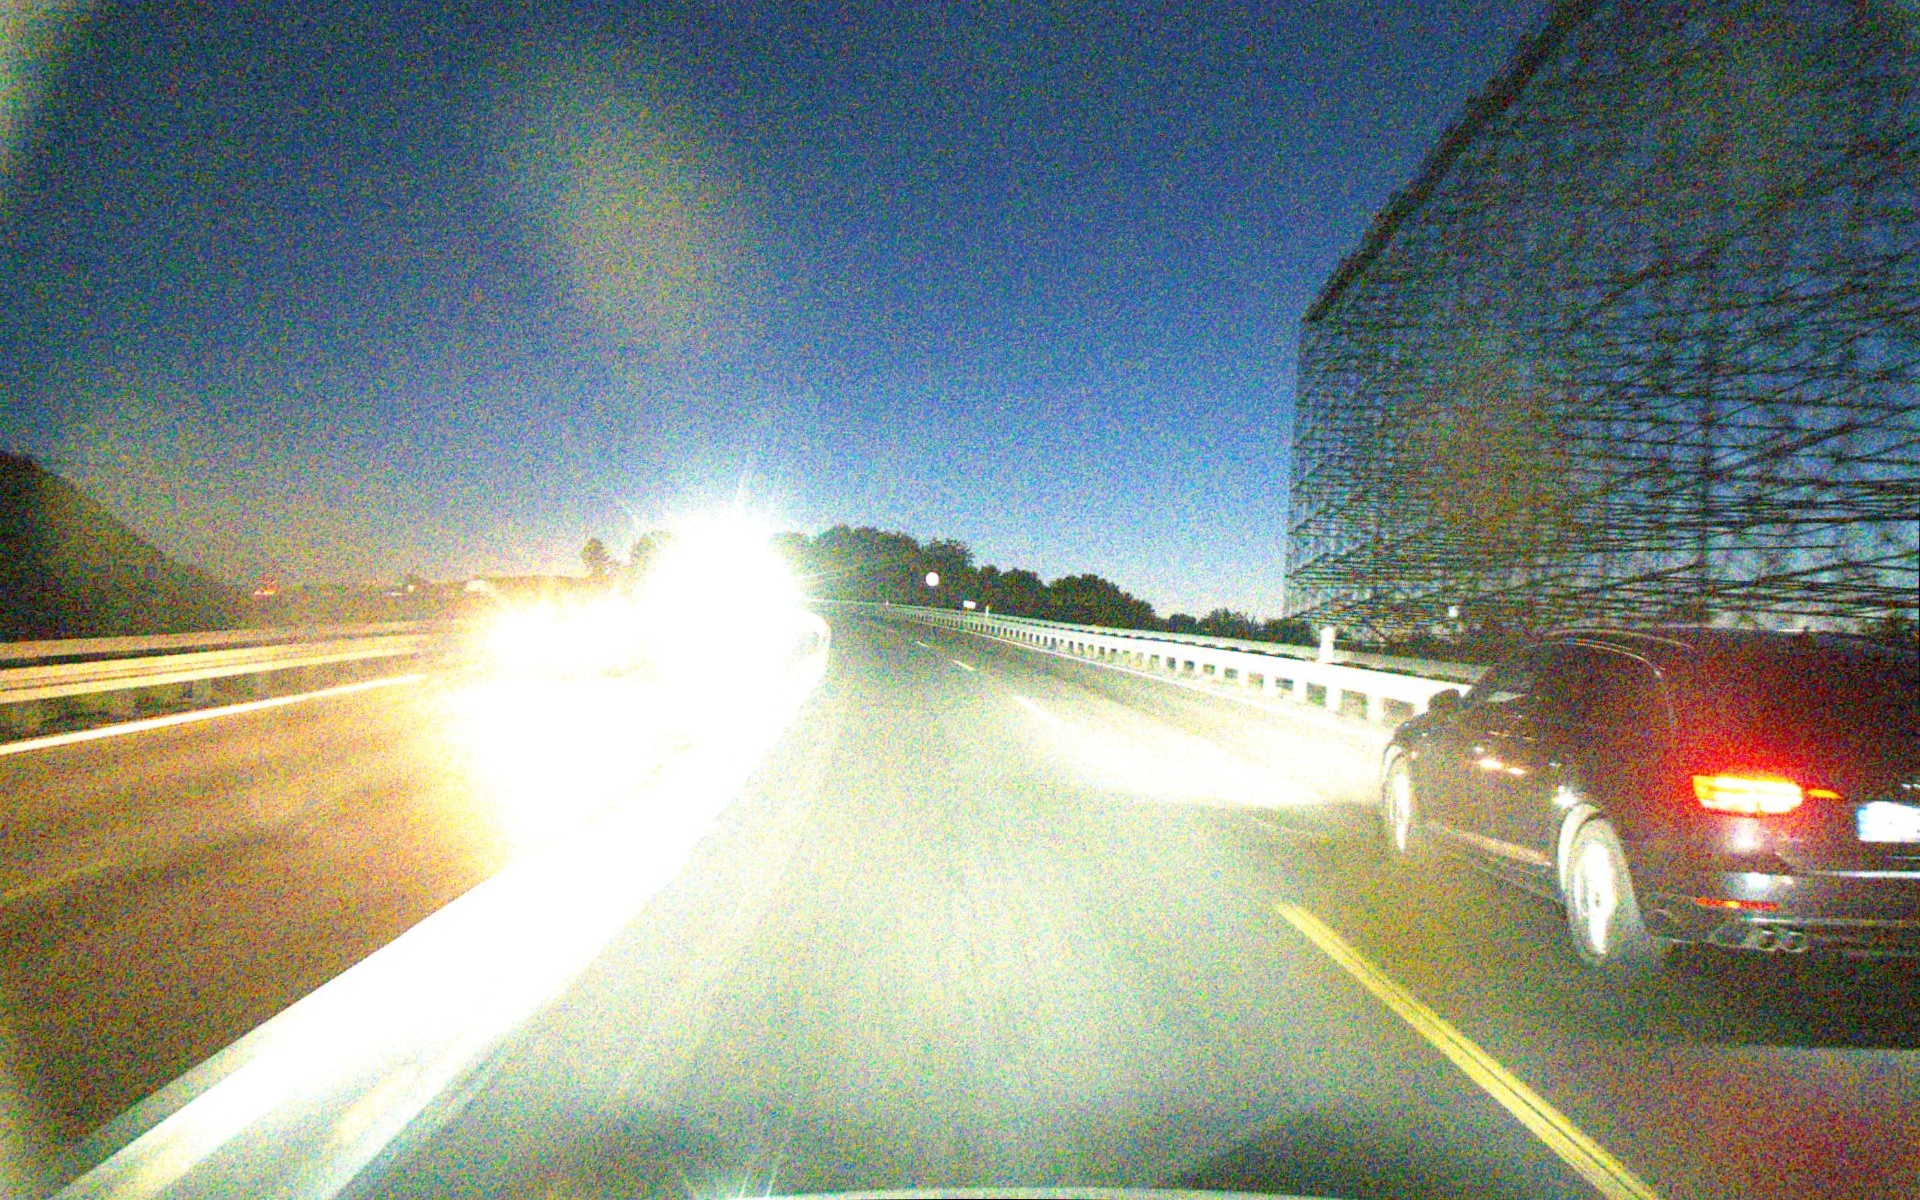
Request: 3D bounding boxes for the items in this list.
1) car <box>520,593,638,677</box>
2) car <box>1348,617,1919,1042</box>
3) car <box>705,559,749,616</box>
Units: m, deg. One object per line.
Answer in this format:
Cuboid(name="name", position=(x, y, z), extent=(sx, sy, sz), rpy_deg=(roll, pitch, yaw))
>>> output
Cuboid(name="car", position=(-7.220, 0.630, 31.669), extent=(1.652, 1.484, 4.195), rpy_deg=(0, 0, -5))
Cuboid(name="car", position=(3.488, 0.827, 8.267), extent=(1.772, 1.451, 4.872), rpy_deg=(0, 0, -3))
Cuboid(name="car", position=(-13.760, -0.665, 97.591), extent=(2.440, 3.160, 7.370), rpy_deg=(0, -1, -9))
